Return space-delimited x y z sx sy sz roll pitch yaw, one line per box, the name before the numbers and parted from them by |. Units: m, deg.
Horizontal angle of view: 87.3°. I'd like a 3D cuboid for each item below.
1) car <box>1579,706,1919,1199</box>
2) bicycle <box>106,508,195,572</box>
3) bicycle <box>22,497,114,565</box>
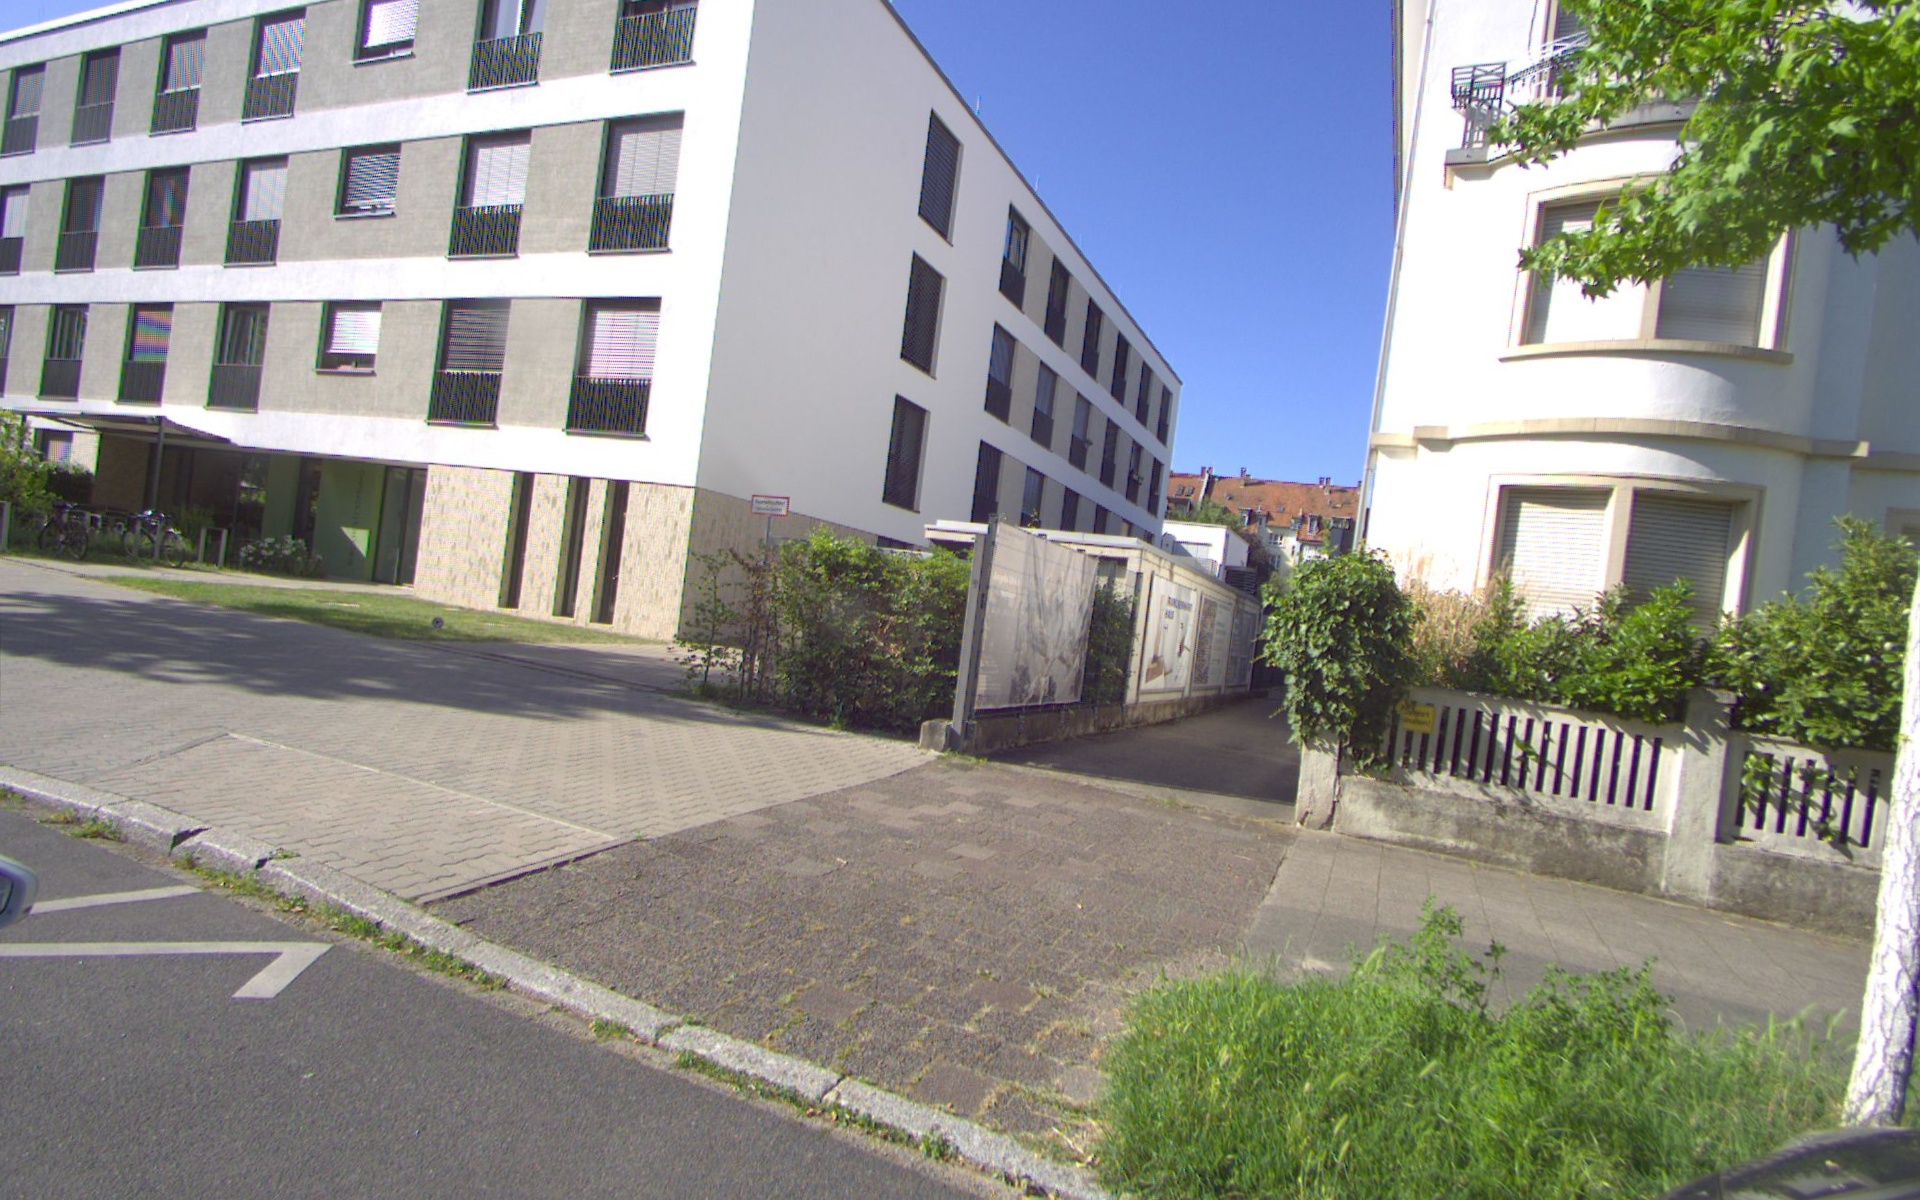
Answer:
car | 2.857 1.145 0.583 4.009 1.467 1.704 7 1 25
bicycle | -16.187 -1.210 20.111 1.747 1.068 0.547 7 1 22
bicycle | -16.710 -1.288 18.849 1.660 1.068 0.547 7 1 22
